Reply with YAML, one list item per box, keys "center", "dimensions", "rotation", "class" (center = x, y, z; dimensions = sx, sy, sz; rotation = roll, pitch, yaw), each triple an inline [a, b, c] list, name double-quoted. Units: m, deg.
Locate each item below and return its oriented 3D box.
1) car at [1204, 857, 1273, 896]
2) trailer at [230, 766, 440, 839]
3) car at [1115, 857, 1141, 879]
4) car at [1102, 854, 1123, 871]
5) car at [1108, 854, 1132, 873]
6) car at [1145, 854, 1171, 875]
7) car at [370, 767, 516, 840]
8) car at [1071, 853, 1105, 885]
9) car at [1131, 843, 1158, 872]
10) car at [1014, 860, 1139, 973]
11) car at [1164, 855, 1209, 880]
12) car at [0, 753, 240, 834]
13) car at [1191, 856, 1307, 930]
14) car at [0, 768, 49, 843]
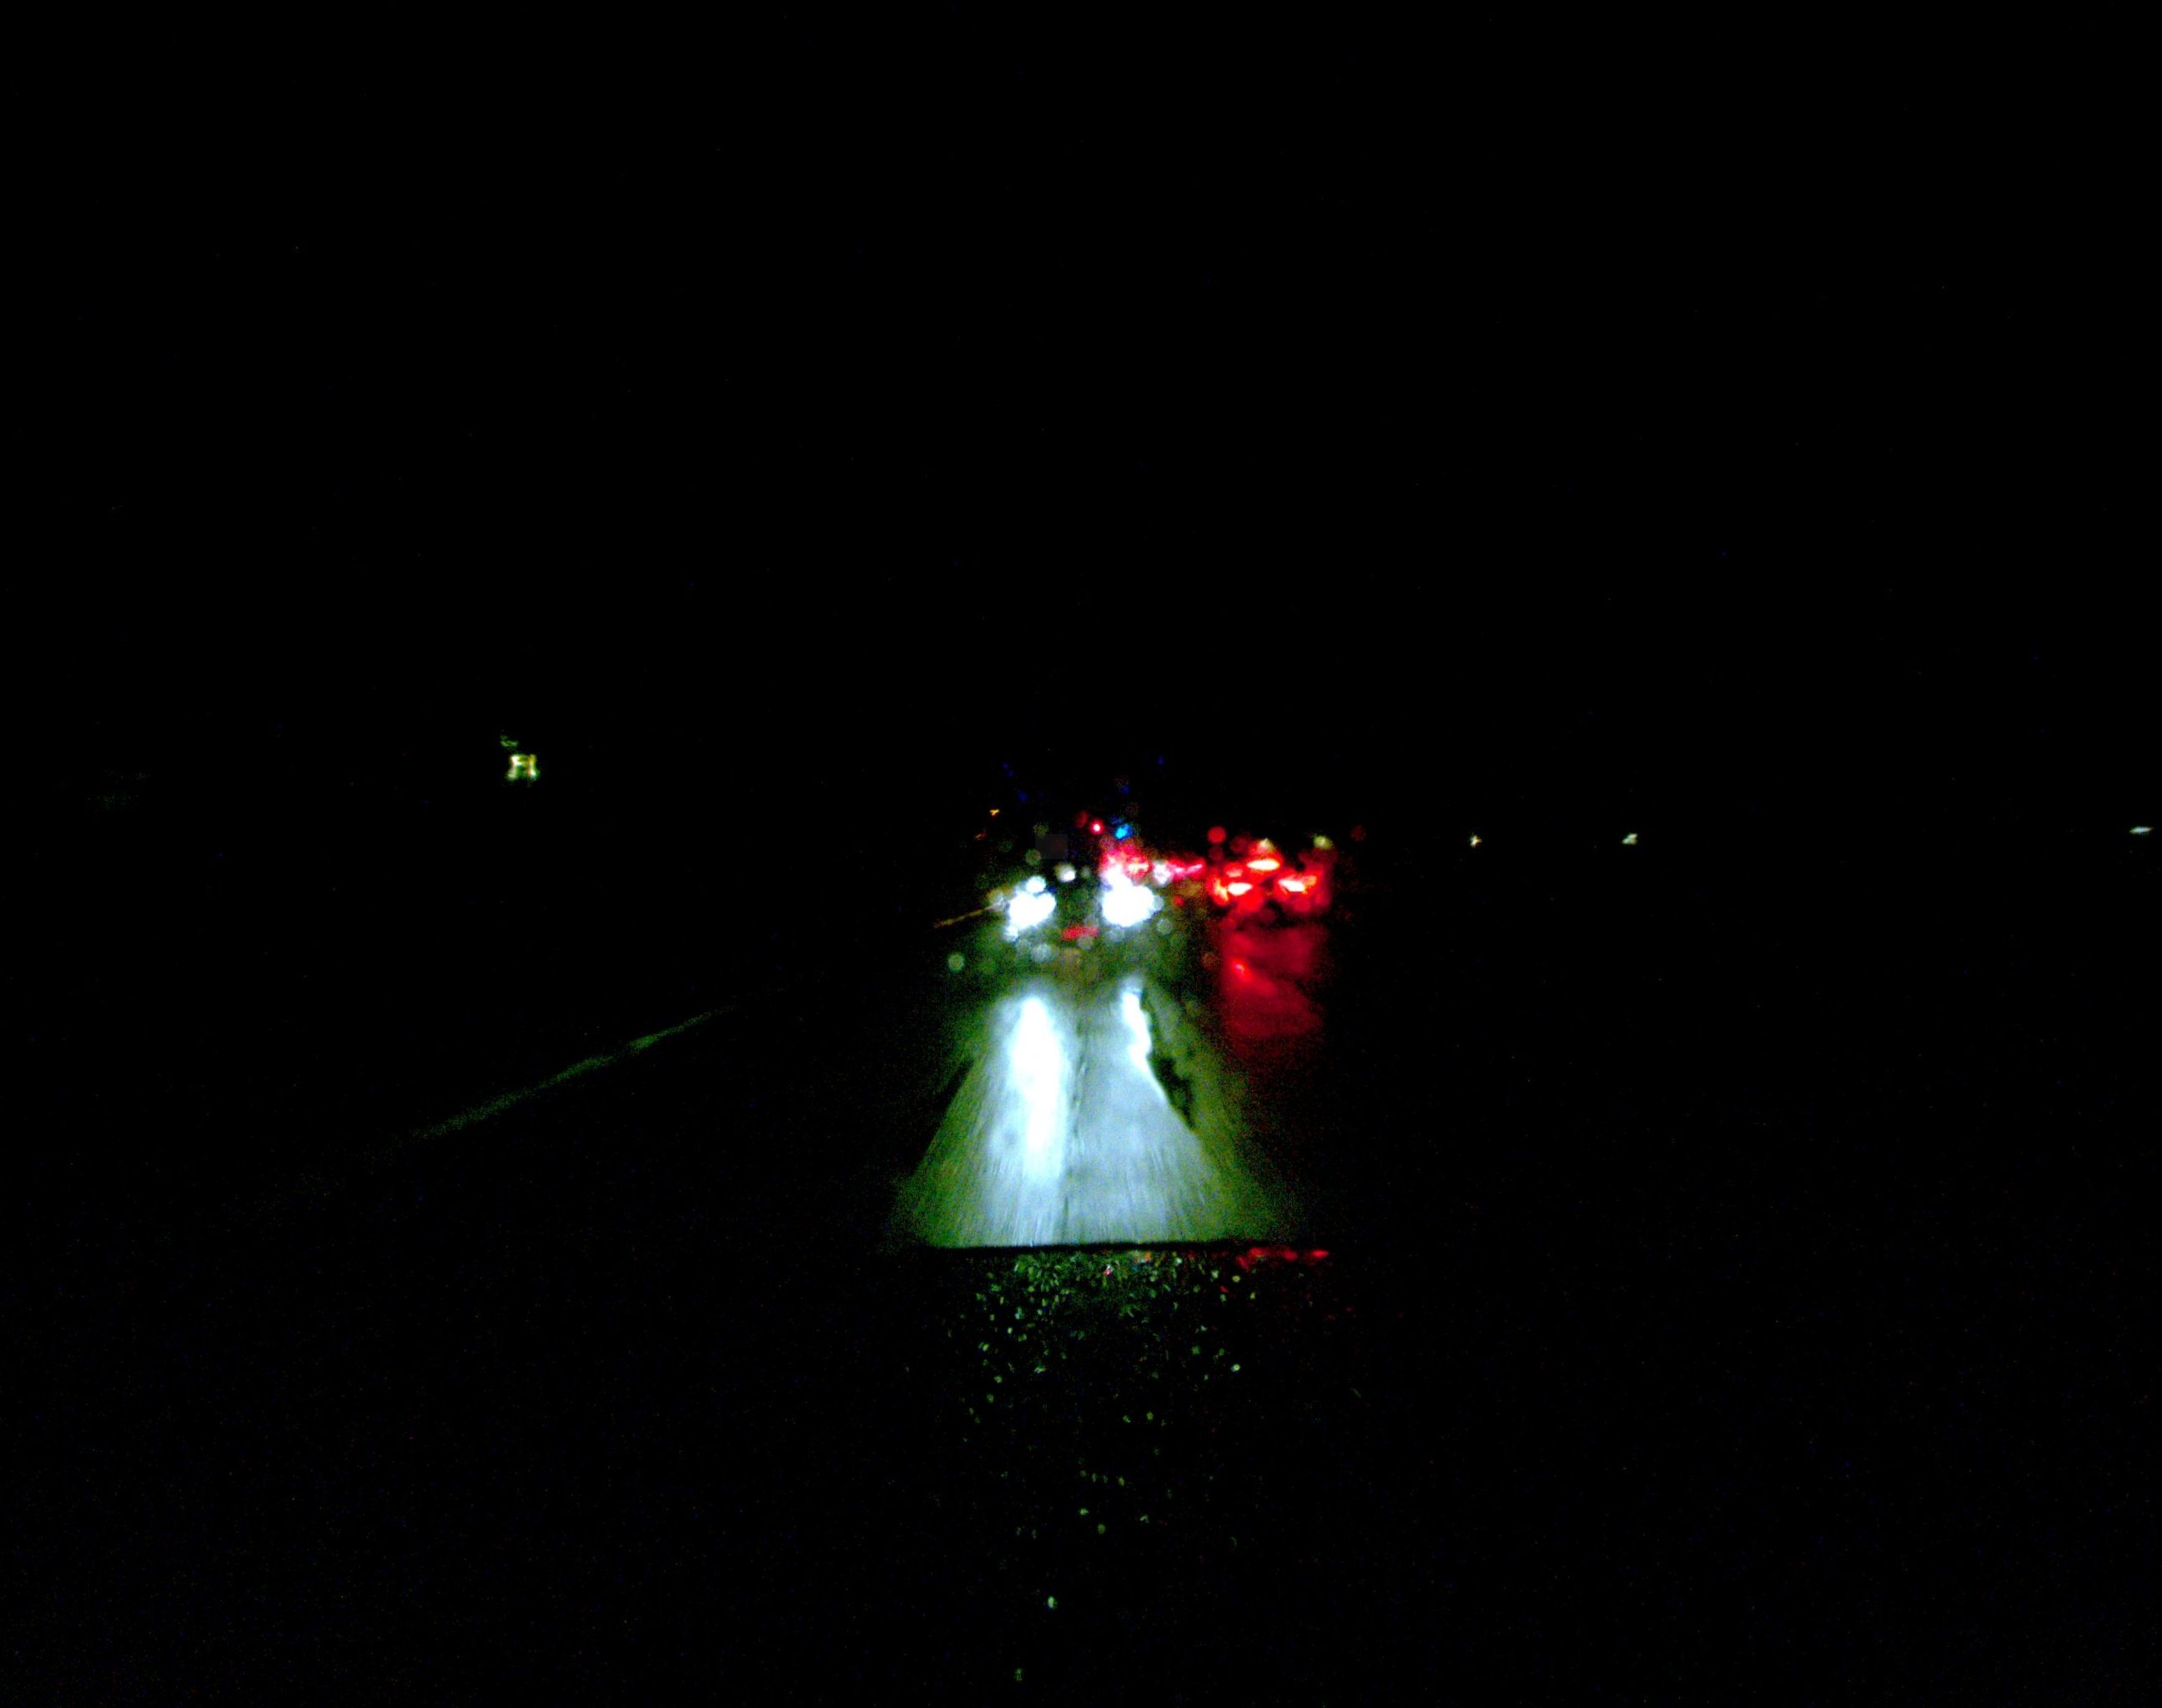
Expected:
- center: [6.499, 0.890, 31.905]
  dimensions: [1.923, 1.435, 4.545]
  rotation: [-2, 0, 0]
  class: "car"
- center: [-24.952, -1.621, 25.832]
  dimensions: [2.233, 2.060, 5.715]
  rotation: [-2, 0, -11]
  class: "trailer"
- center: [3.800, 1.087, 61.811]
  dimensions: [1.809, 1.620, 4.416]
  rotation: [-2, 0, 1]
  class: "car"
- center: [3.177, 0.873, 77.477]
  dimensions: [1.849, 1.565, 4.596]
  rotation: [-2, 0, 0]
  class: "car"
- center: [3.555, 0.846, 69.975]
  dimensions: [1.849, 1.565, 4.596]
  rotation: [-2, 0, 0]
  class: "car"
- center: [6.286, 0.829, 62.295]
  dimensions: [1.883, 1.528, 3.988]
  rotation: [-2, 0, 3]
  class: "car"
- center: [-25.995, -1.951, 31.295]
  dimensions: [2.121, 2.620, 5.445]
  rotation: [-2, 1, -11]
  class: "car"
- center: [0.466, 0.860, 46.391]
  dimensions: [1.759, 1.807, 4.711]
  rotation: [-3, 0, 3]
  class: "car"
- center: [6.319, 0.321, 76.208]
  dimensions: [2.128, 2.692, 6.240]
  rotation: [-2, 0, 0]
  class: "car"
- center: [-0.004, 0.940, 13.562]
  dimensions: [1.809, 1.590, 4.787]
  rotation: [-1, 0, 1]
  class: "car"
- center: [6.639, 0.799, 48.236]
  dimensions: [2.082, 1.441, 4.991]
  rotation: [-2, 0, -1]
  class: "car"
- center: [-23.267, -1.387, 18.534]
  dimensions: [1.618, 1.630, 3.995]
  rotation: [-2, 1, -13]
  class: "car"
- center: [3.871, 0.833, 18.236]
  dimensions: [1.699, 1.426, 4.292]
  rotation: [-3, 1, -1]
  class: "car"
- center: [-22.259, -0.964, 13.977]
  dimensions: [1.618, 1.464, 3.995]
  rotation: [-2, 1, -13]
  class: "car"
